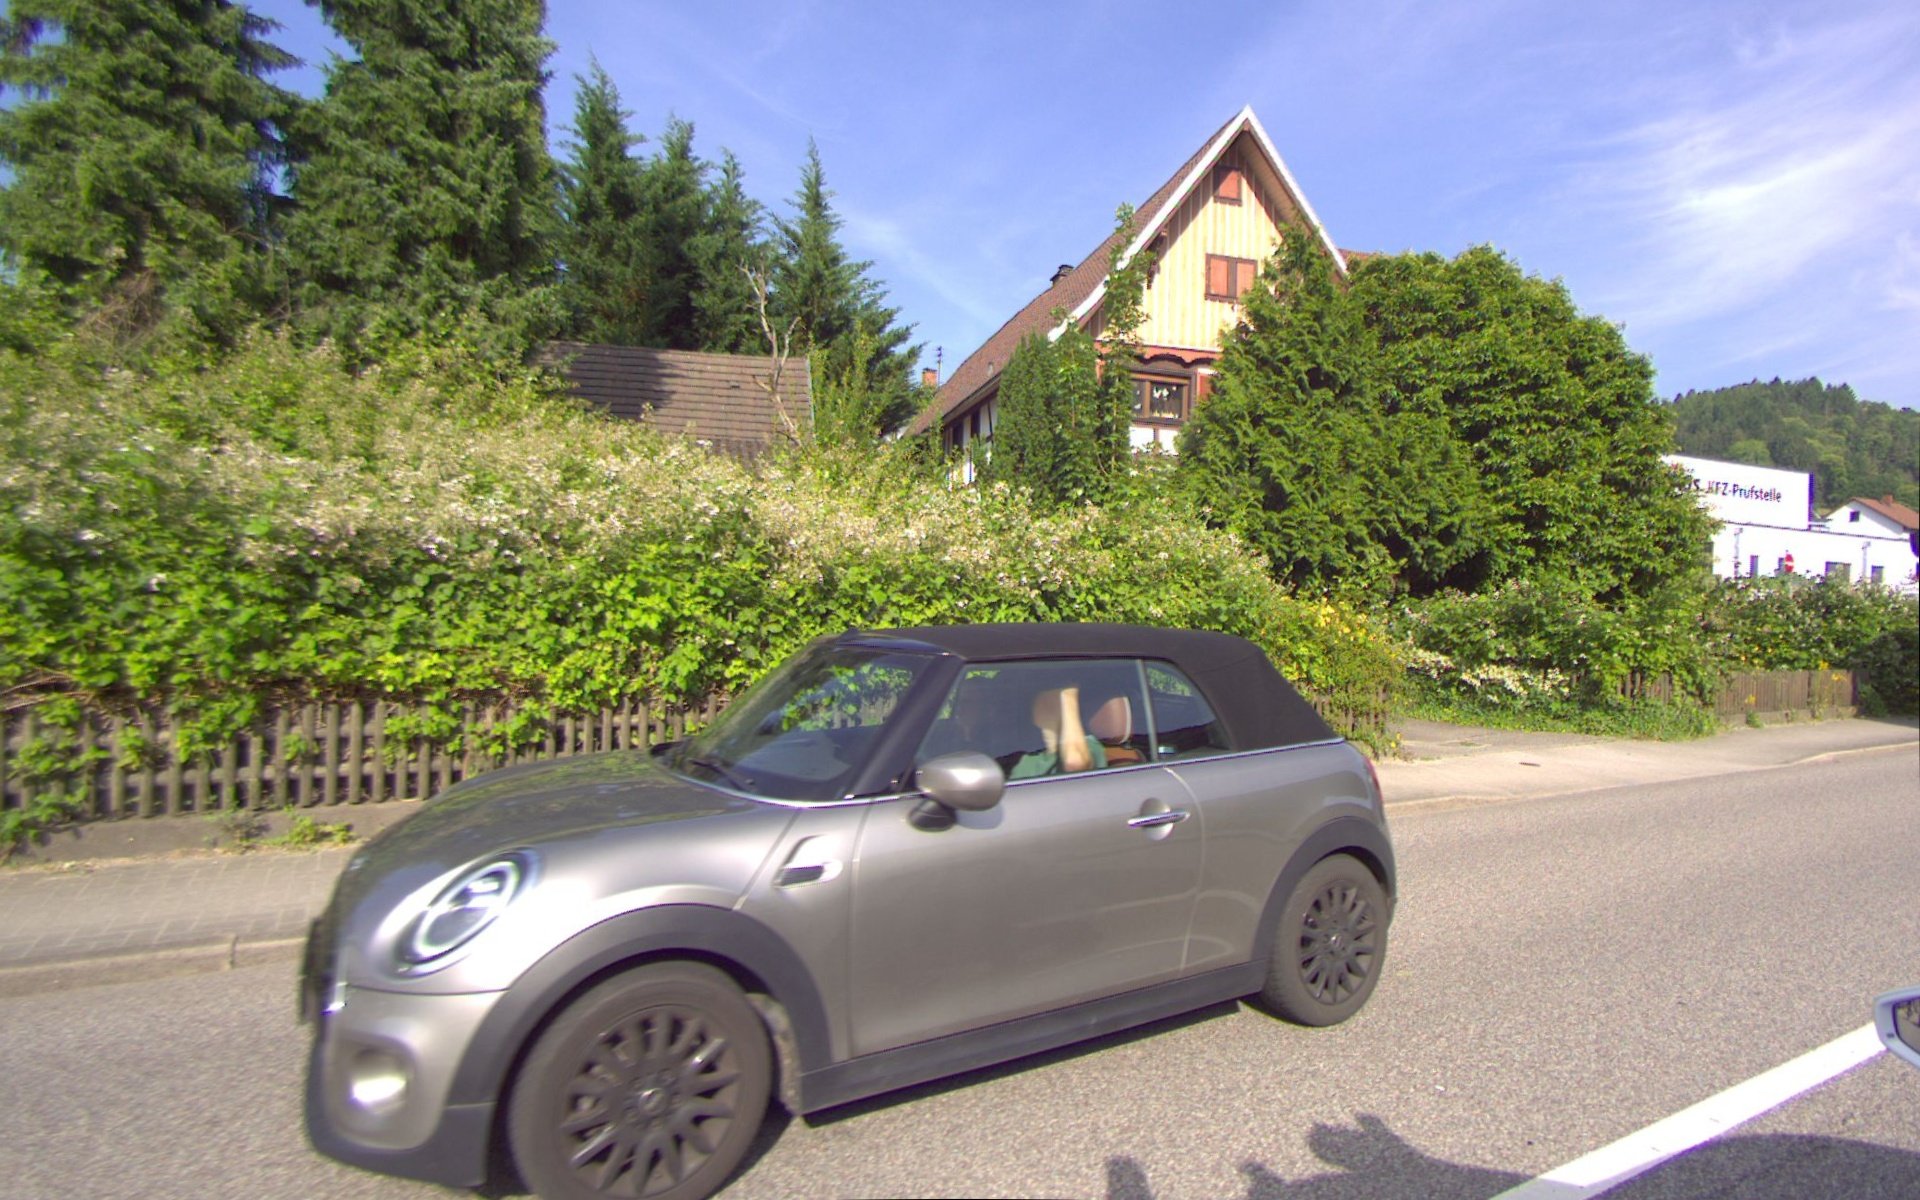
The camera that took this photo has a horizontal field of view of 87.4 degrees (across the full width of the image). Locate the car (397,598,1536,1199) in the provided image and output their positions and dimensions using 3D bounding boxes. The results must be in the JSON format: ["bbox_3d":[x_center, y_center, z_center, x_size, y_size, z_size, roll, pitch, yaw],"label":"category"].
[{"bbox_3d":[0.176,0.769,3.770,3.953,1.421,1.705,2,-1,-30],"label":"car"}]
